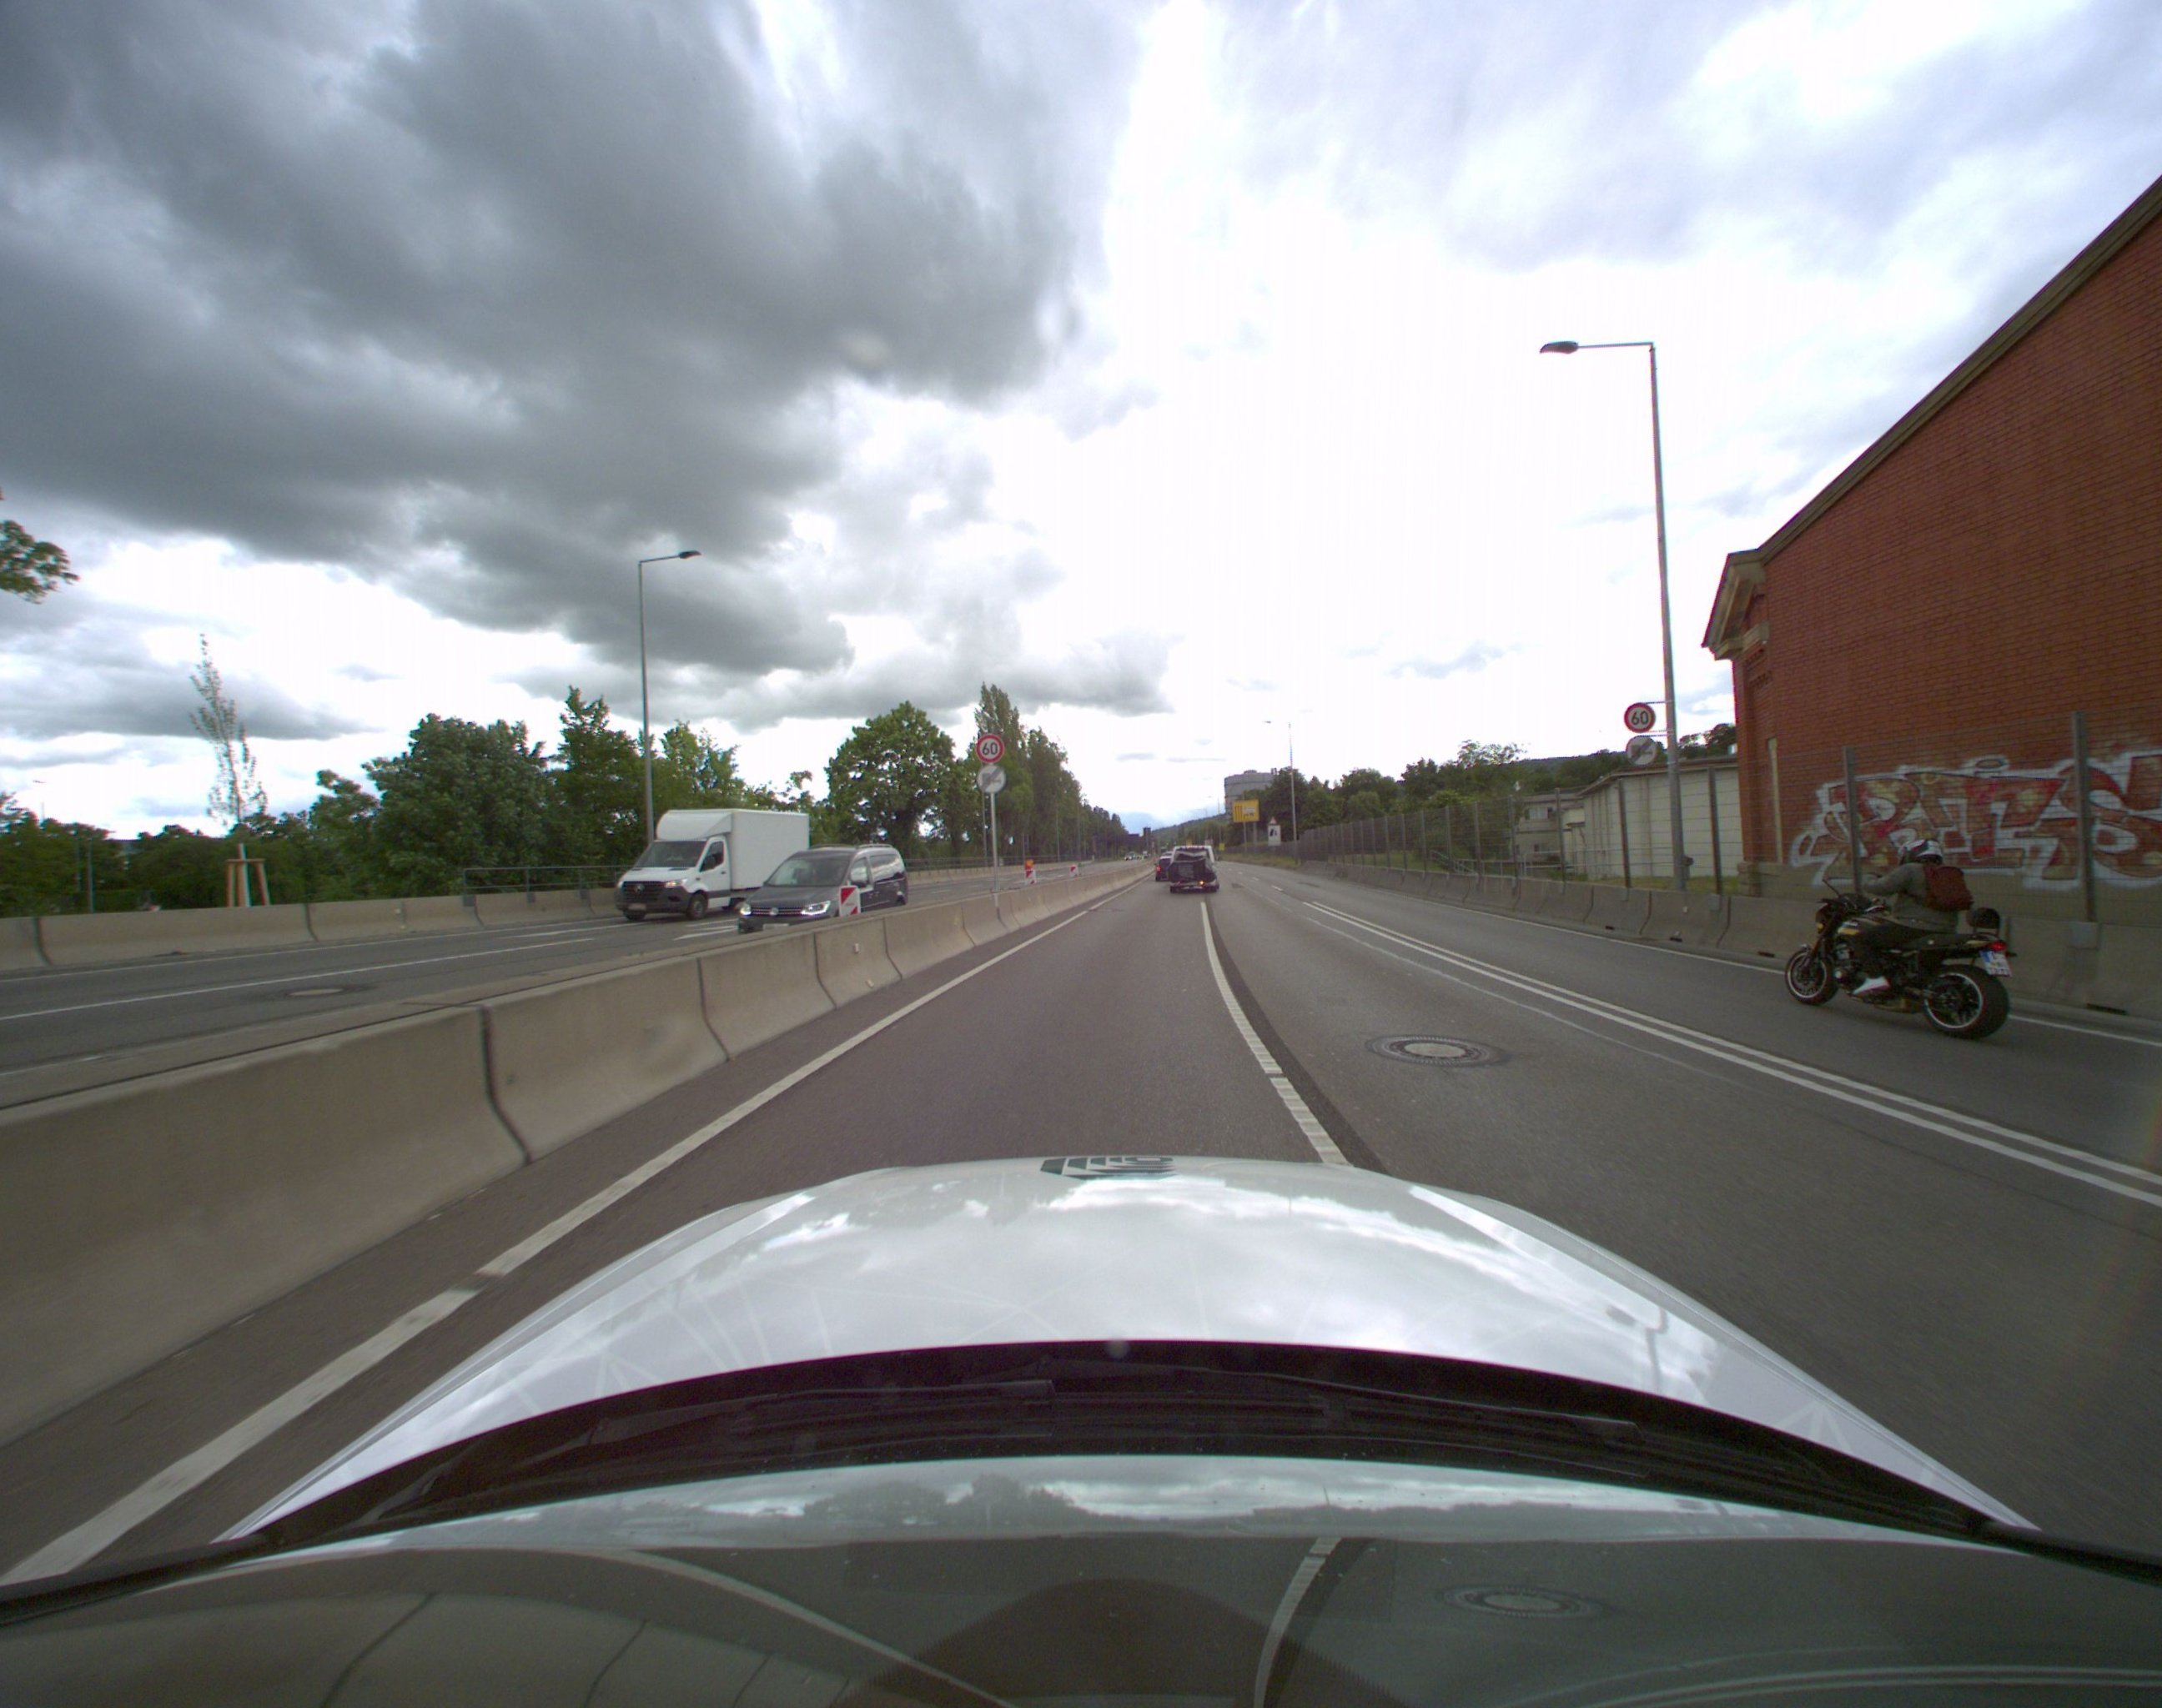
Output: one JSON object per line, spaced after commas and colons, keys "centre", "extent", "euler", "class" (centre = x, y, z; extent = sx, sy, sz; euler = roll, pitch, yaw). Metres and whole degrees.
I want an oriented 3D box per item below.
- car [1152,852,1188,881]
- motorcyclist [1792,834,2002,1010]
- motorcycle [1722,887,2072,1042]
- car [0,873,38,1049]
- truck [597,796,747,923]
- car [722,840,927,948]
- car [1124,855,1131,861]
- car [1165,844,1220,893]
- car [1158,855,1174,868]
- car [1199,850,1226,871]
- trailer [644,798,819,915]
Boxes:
{"centre": [5.166, 0.685, 46.906], "extent": [1.804, 1.434, 4.075], "euler": [-3, 0, 8], "class": "car"}
{"centre": [7.366, 0.583, 7.419], "extent": [0.908, 1.477, 0.968], "euler": [-2, 0, 4], "class": "motorcyclist"}
{"centre": [7.403, 0.916, 7.678], "extent": [0.740, 1.083, 2.668], "euler": [-2, -1, 4], "class": "motorcycle"}
{"centre": [-10.052, 0.881, 4.753], "extent": [1.854, 1.453, 4.577], "euler": [-1, -1, 5], "class": "car"}
{"centre": [-10.731, 0.162, 21.625], "extent": [2.260, 3.114, 2.993], "euler": [-1, -1, 7], "class": "truck"}
{"centre": [-4.790, 0.693, 16.154], "extent": [1.891, 1.805, 4.965], "euler": [-1, 0, 8], "class": "car"}
{"centre": [11.862, 0.973, 206.192], "extent": [1.725, 1.374, 3.620], "euler": [-2, 0, 3], "class": "car"}
{"centre": [4.690, 0.526, 33.556], "extent": [1.980, 1.859, 5.657], "euler": [0, 0, 10], "class": "car"}
{"centre": [11.309, 1.046, 108.555], "extent": [1.983, 1.673, 4.006], "euler": [-1, -1, 6], "class": "car"}
{"centre": [12.501, 0.618, 77.678], "extent": [1.985, 1.860, 4.003], "euler": [-2, -1, 3], "class": "car"}
{"centre": [-10.337, 0.099, 24.773], "extent": [2.260, 3.138, 5.723], "euler": [-1, -1, 7], "class": "trailer"}
